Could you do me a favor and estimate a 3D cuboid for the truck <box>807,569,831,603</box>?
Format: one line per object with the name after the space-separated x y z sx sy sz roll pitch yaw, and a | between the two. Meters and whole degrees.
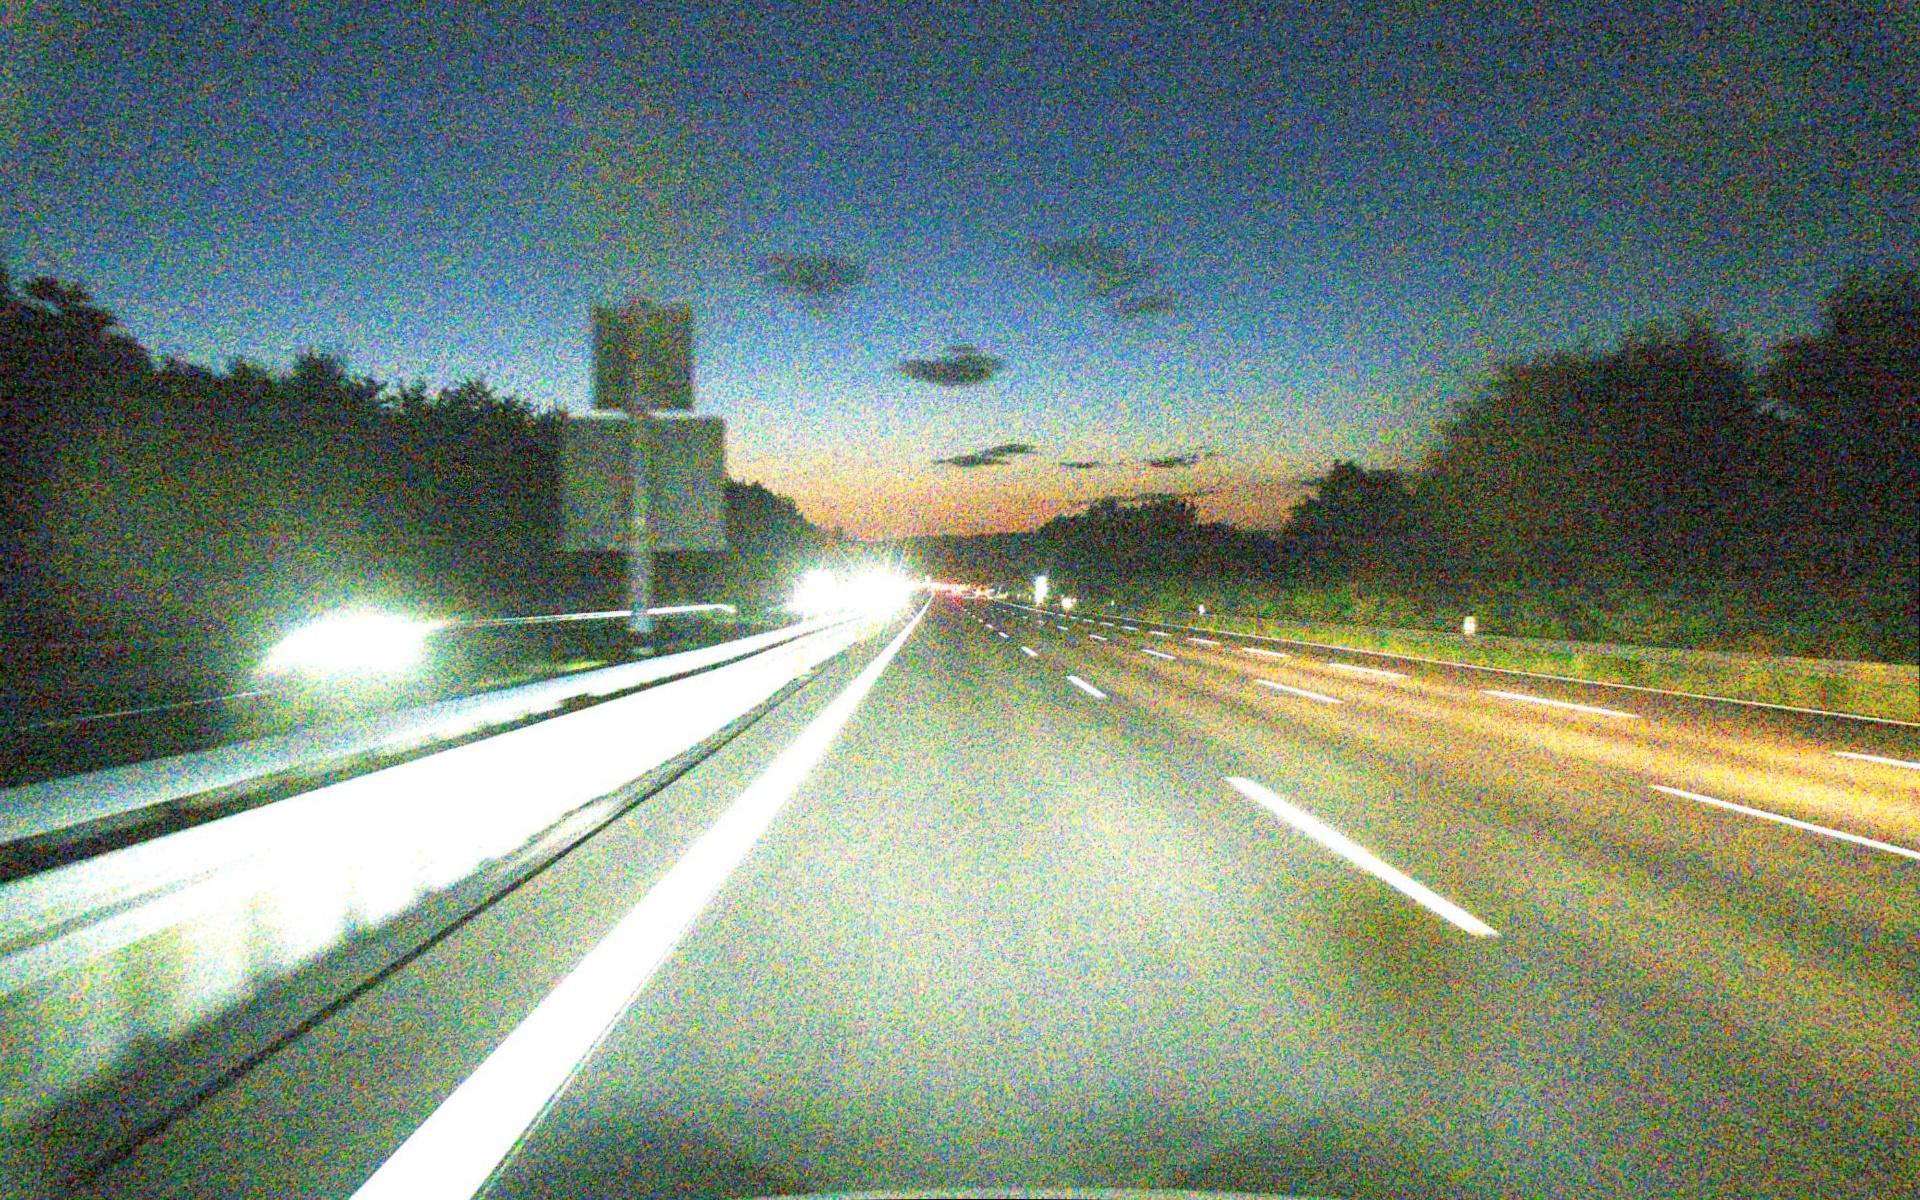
-18.318 -1.831 214.753 2.698 4.285 5.824 -2 0 -1 | truck

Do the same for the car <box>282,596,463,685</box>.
-11.960 0.767 34.078 1.953 1.578 5.003 -3 0 -1 | car

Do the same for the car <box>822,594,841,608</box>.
-14.725 0.128 189.726 1.954 1.487 4.689 -2 0 -3 | car
